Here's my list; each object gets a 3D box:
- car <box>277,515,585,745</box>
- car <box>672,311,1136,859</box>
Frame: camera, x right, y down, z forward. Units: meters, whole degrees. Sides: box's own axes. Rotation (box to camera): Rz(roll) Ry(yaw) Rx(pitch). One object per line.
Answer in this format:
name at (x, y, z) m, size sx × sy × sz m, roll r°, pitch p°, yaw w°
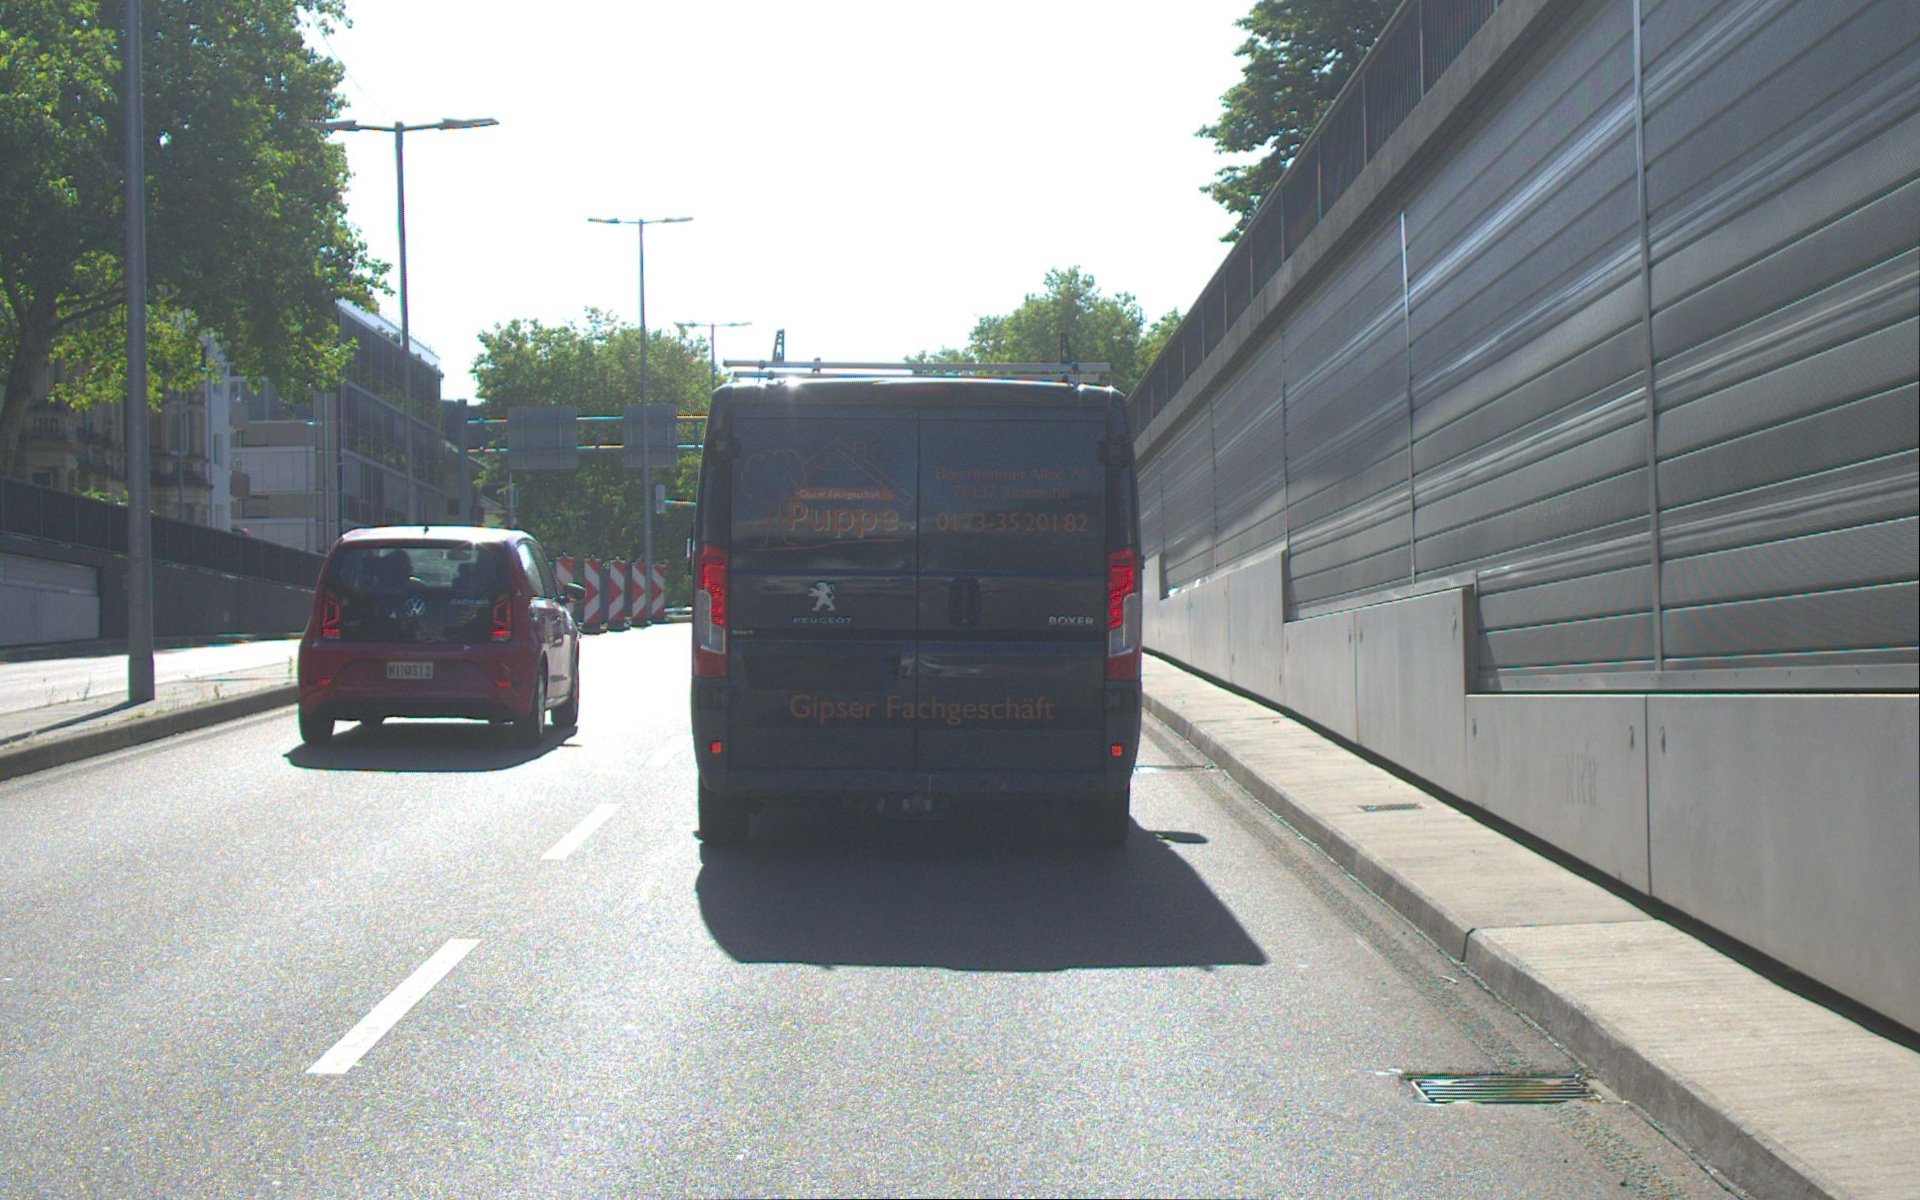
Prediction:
car at (-3.620, 0.156, 24.010) m, size 1.689 × 1.478 × 3.319 m, roll 1°, pitch 1°, yaw -1°
car at (-0.268, -0.079, 17.044) m, size 2.030 × 2.394 × 3.973 m, roll 0°, pitch 0°, yaw -1°
